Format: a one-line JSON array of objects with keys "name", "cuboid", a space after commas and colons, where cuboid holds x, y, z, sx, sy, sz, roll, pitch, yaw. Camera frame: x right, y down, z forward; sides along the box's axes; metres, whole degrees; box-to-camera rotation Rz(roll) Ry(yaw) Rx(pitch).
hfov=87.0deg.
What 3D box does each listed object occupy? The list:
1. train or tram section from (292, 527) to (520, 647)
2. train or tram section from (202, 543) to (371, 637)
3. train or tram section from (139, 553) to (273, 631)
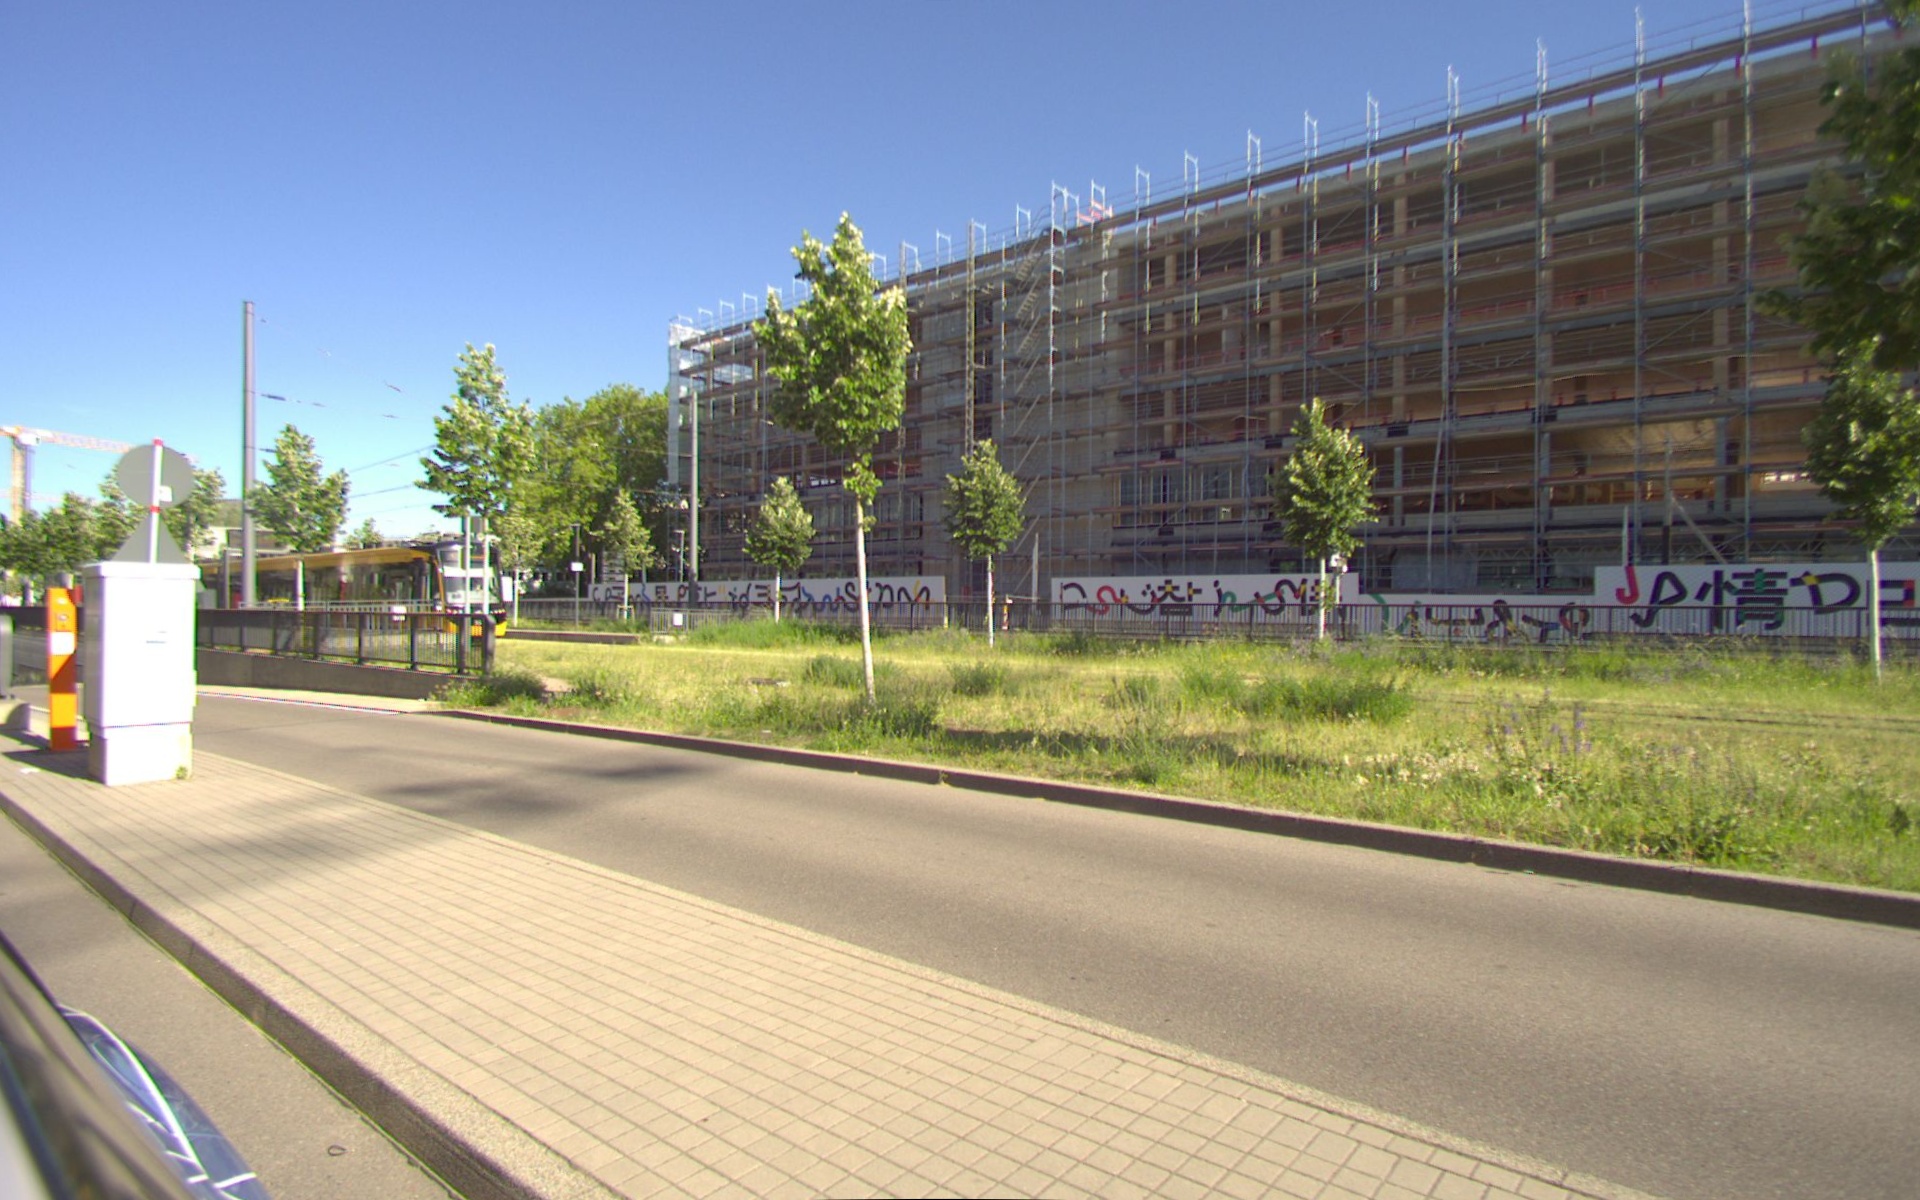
[{"name": "train or tram section", "cuboid": [-20.179, -0.370, 36.220, 12.780, 3.666, 2.787, 0, -1, 41]}, {"name": "train or tram section", "cuboid": [-29.885, -0.363, 44.526, 12.780, 3.666, 2.787, 0, -1, 41]}, {"name": "train or tram section", "cuboid": [-39.579, -0.365, 52.848, 12.780, 3.666, 2.787, 0, -1, 41]}]
